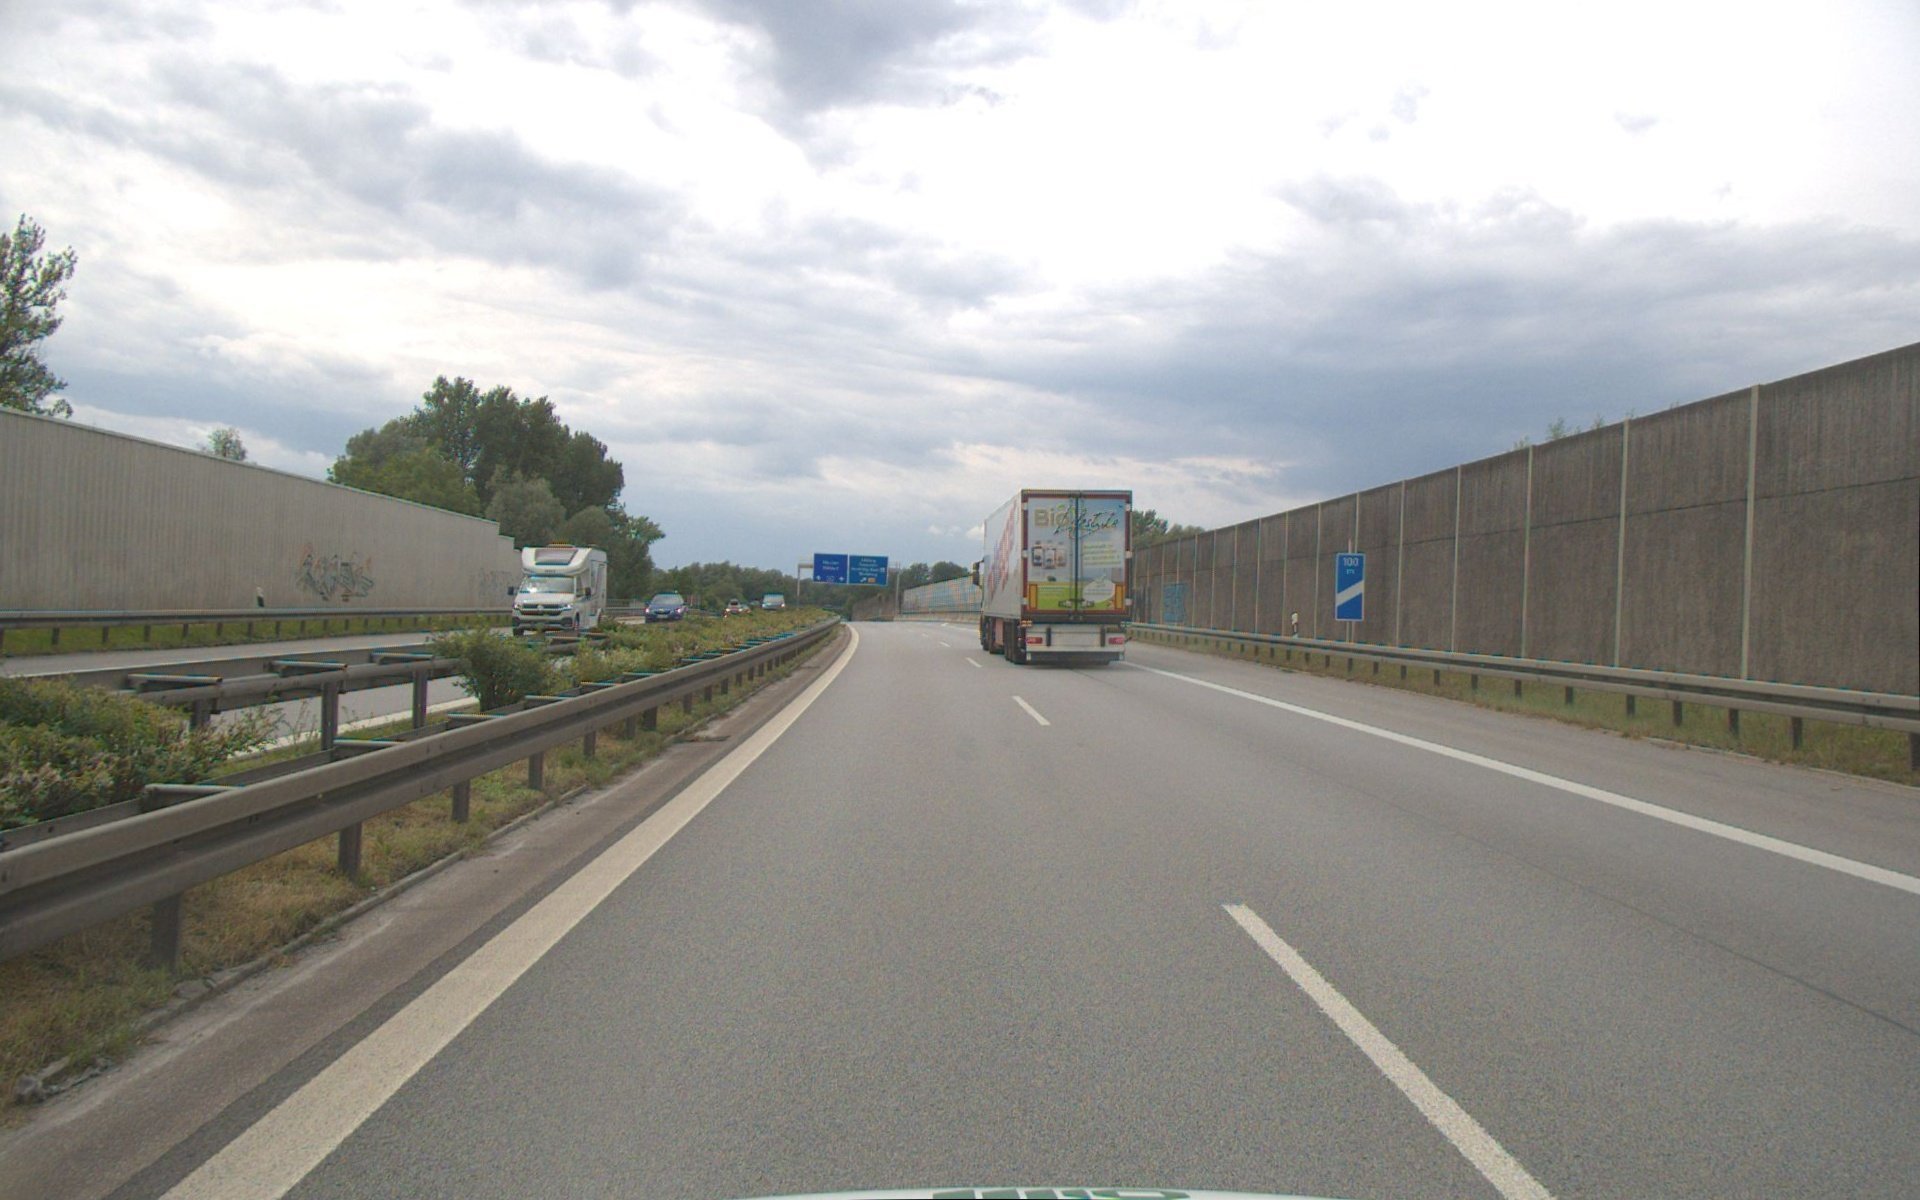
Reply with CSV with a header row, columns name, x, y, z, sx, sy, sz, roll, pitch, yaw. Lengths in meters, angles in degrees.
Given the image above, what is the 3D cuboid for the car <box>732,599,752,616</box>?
name,x,y,z,sx,sy,sz,roll,pitch,yaw
car,-23.237,0.770,176.583,1.931,1.792,4.939,1,0,-5

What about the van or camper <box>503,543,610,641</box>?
name,x,y,z,sx,sy,sz,roll,pitch,yaw
van or camper,-12.313,-0.225,50.850,2.210,2.828,5.750,1,0,-4

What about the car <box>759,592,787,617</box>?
name,x,y,z,sx,sy,sz,roll,pitch,yaw
car,-14.926,0.352,132.235,1.954,1.919,4.552,1,0,-4

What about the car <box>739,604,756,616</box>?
name,x,y,z,sx,sy,sz,roll,pitch,yaw
car,-26.713,1.277,208.035,1.931,1.428,4.704,0,0,-5

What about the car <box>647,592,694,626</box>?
name,x,y,z,sx,sy,sz,roll,pitch,yaw
car,-13.918,0.414,79.687,1.776,1.574,4.512,1,0,-4

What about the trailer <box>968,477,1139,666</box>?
name,x,y,z,sx,sy,sz,roll,pitch,yaw
trailer,2.163,-0.608,44.383,2.738,4.248,14.090,0,0,-4

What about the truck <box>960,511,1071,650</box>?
name,x,y,z,sx,sy,sz,roll,pitch,yaw
truck,1.606,-0.553,50.850,2.702,4.029,5.670,1,0,-5
